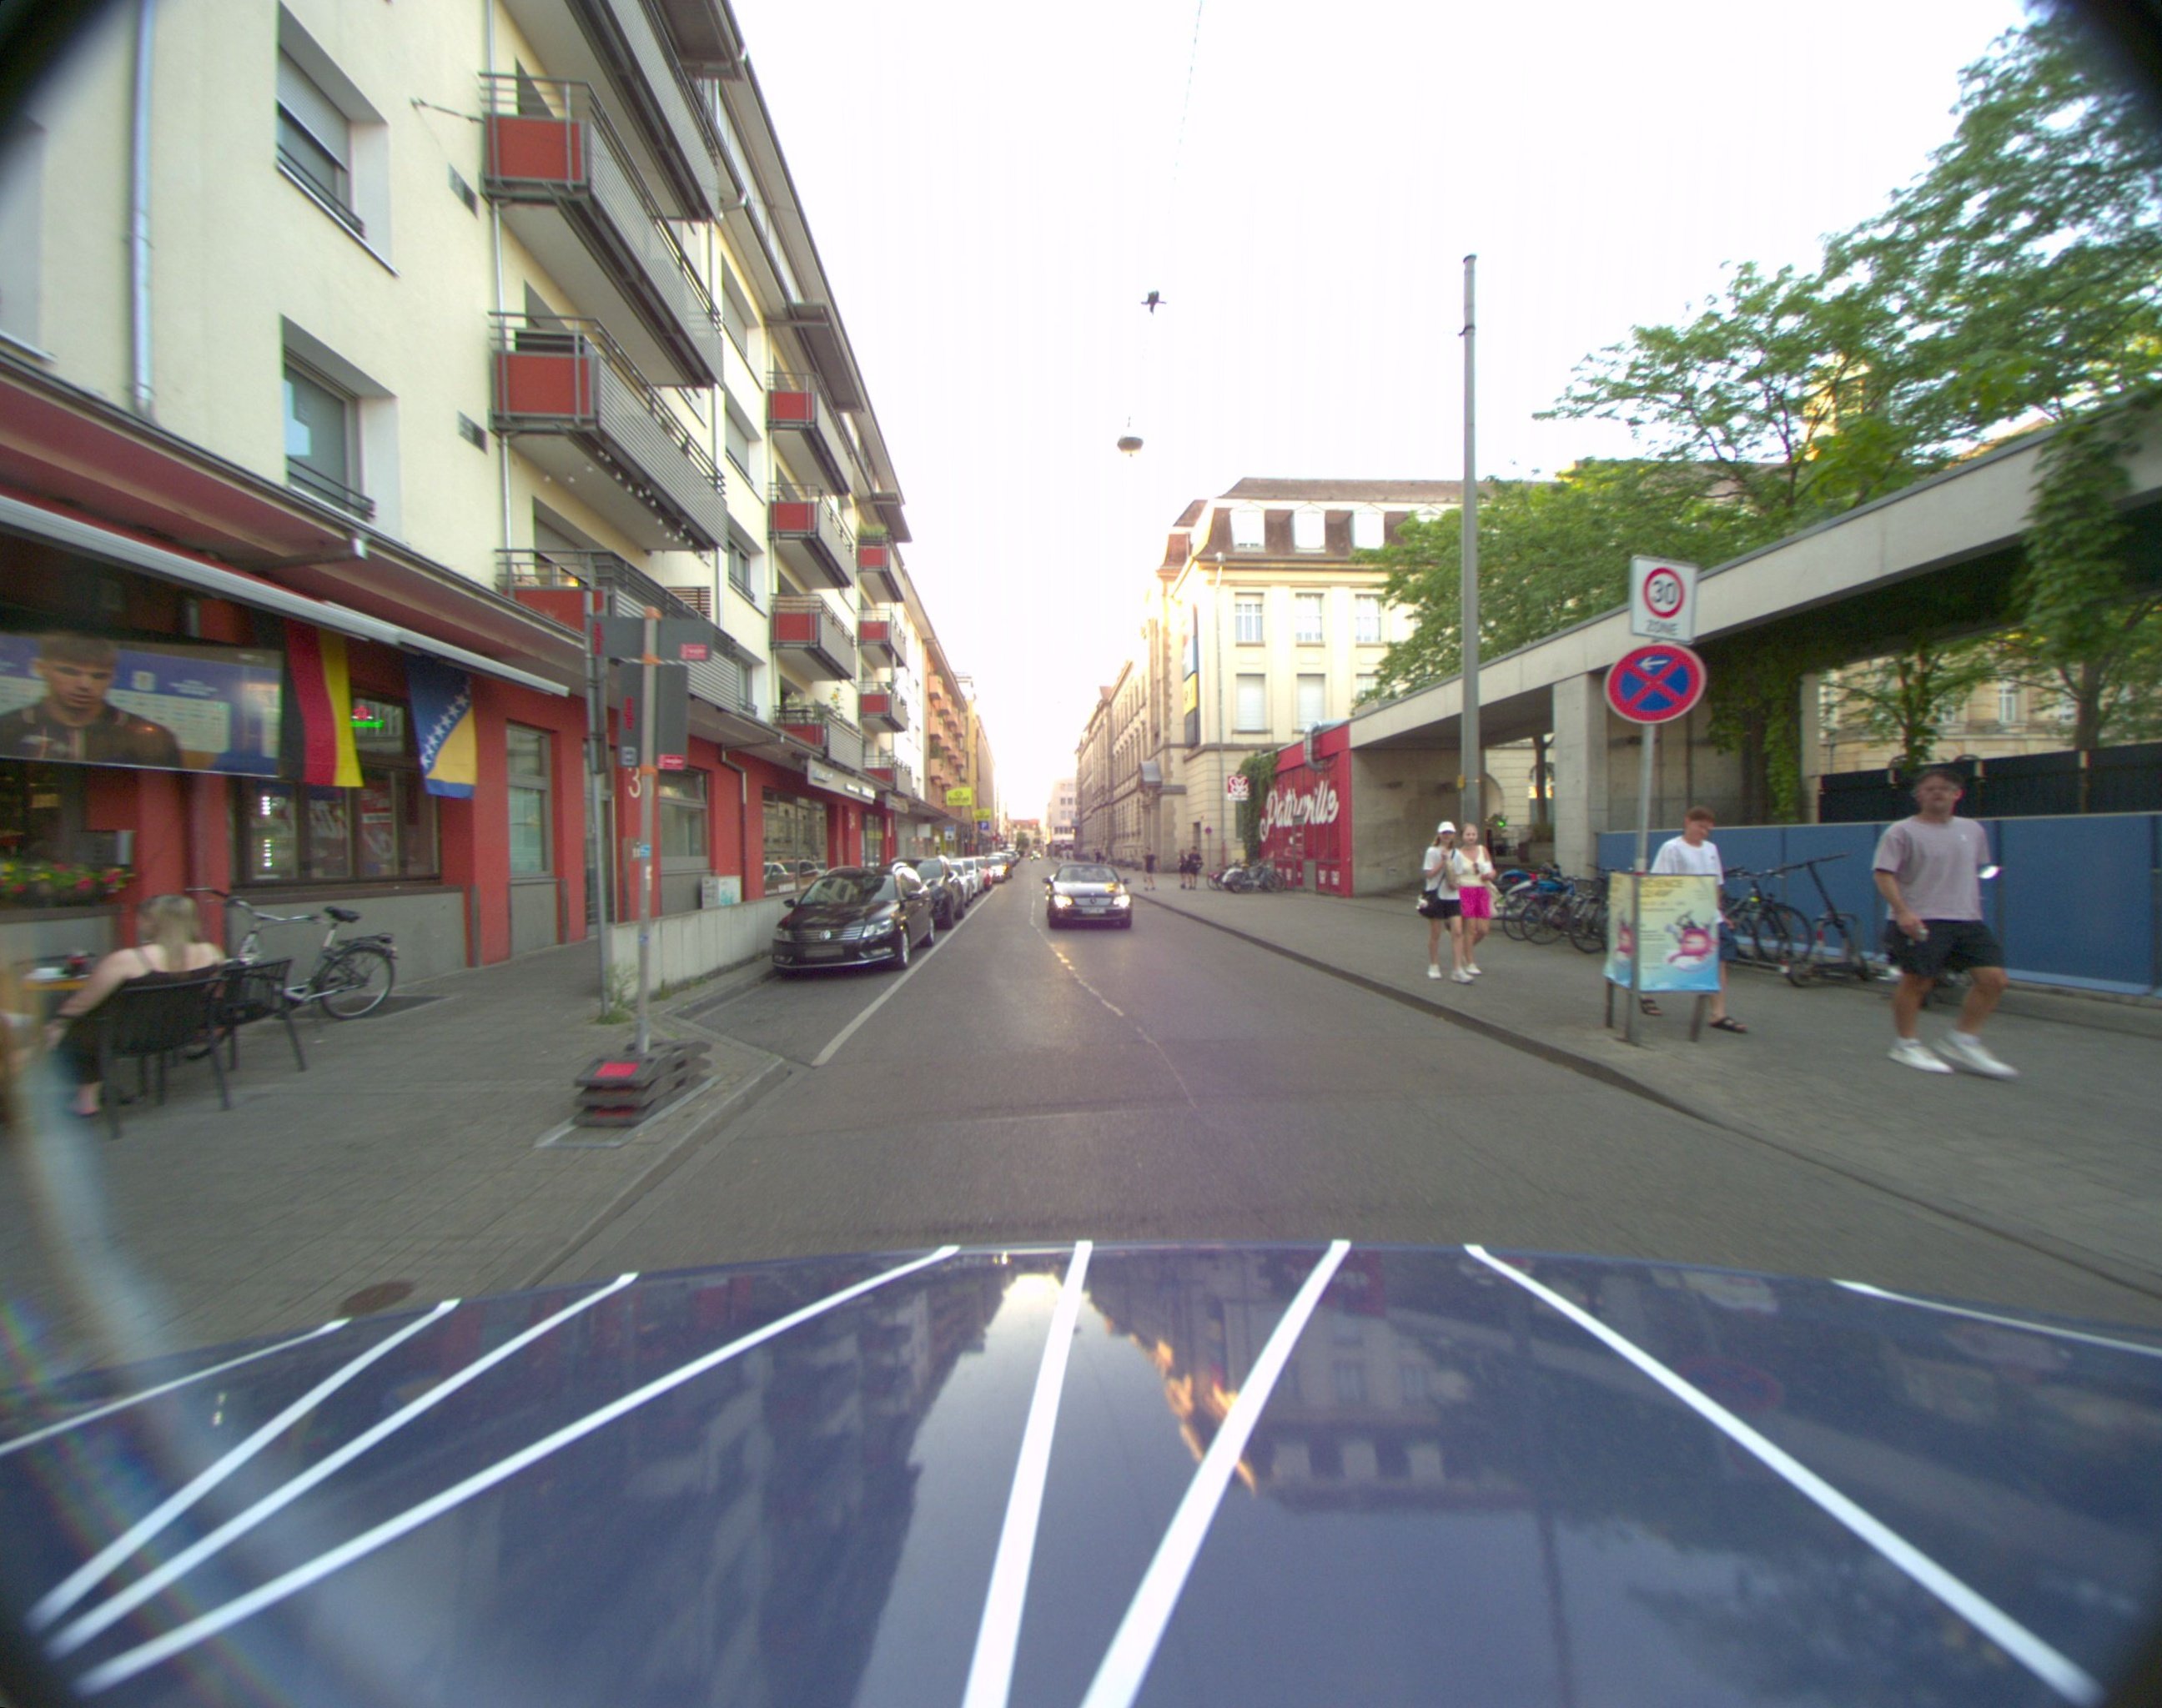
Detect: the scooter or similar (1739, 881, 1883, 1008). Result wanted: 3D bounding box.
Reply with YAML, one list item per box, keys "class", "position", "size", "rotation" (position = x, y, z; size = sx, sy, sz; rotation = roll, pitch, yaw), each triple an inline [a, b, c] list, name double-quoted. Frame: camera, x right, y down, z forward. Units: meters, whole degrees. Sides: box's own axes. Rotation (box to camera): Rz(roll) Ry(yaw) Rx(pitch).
- class: "scooter or similar"
  position: [7.194, 0.854, 7.481]
  size: [1.499, 1.082, 0.410]
  rotation: [-3, 1, -21]

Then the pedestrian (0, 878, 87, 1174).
- class: "pedestrian"
  position: [-6.110, 0.915, 3.950]
  size: [0.854, 1.527, 0.713]
  rotation: [-3, 1, -26]

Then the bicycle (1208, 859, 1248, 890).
- class: "bicycle"
  position: [5.758, 0.809, 29.741]
  size: [1.501, 1.134, 0.312]
  rotation: [-3, 1, -12]

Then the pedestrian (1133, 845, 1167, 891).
- class: "pedestrian"
  position: [2.852, 0.566, 31.549]
  size: [1.009, 1.816, 0.944]
  rotation: [-3, 1, -26]

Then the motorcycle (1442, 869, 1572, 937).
- class: "motorcycle"
  position: [7.087, 0.817, 12.733]
  size: [1.824, 1.063, 0.534]
  rotation: [-2, 1, 25]

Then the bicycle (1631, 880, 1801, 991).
- class: "bicycle"
  position: [6.980, 0.876, 8.376]
  size: [1.497, 1.082, 0.547]
  rotation: [-2, 1, -7]

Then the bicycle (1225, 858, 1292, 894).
- class: "bicycle"
  position: [6.152, 0.774, 26.386]
  size: [2.180, 1.149, 0.445]
  rotation: [-2, 1, 2]

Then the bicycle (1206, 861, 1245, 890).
- class: "bicycle"
  position: [5.720, 0.832, 30.084]
  size: [1.501, 1.070, 0.312]
  rotation: [-3, 1, -12]

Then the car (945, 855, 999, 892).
- class: "car"
  position: [-4.815, 0.821, 34.140]
  size: [1.867, 1.468, 4.393]
  rotation: [-2, 0, -1]

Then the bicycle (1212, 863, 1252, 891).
- class: "bicycle"
  position: [5.839, 0.884, 29.427]
  size: [1.501, 0.973, 0.312]
  rotation: [-3, 1, -12]

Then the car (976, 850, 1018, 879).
- class: "car"
  position: [-5.207, 0.609, 47.534]
  size: [1.998, 1.607, 4.367]
  rotation: [-2, 0, 1]

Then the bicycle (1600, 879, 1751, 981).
- class: "bicycle"
  position: [6.919, 0.866, 8.859]
  size: [1.497, 1.063, 0.442]
  rotation: [-2, 1, -7]

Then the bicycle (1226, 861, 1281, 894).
- class: "bicycle"
  position: [6.067, 0.823, 26.751]
  size: [1.844, 1.077, 0.354]
  rotation: [-2, 1, 2]

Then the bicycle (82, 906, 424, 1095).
- class: "bicycle"
  position: [-6.330, 1.036, 6.021]
  size: [0.550, 1.081, 2.005]
  rotation: [-2, 0, -4]

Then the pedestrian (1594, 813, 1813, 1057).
- class: "pedestrian"
  position: [4.958, 0.602, 6.124]
  size: [0.984, 1.783, 0.890]
  rotation: [-2, 1, -2]

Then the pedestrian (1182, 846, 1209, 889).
- class: "pedestrian"
  position: [4.643, 0.554, 30.857]
  size: [0.832, 1.717, 0.922]
  rotation: [-1, 1, 25]

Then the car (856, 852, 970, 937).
- class: "car"
  position: [-3.792, 0.838, 17.869]
  size: [1.884, 1.690, 4.136]
  rotation: [-2, 0, -3]

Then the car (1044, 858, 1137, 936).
- class: "car"
  position: [0.131, 0.856, 17.153]
  size: [1.809, 1.400, 4.615]
  rotation: [0, 1, -1]

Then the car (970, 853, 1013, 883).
- class: "car"
  position: [-4.878, 0.735, 41.820]
  size: [1.897, 1.468, 4.300]
  rotation: [-2, 0, -1]

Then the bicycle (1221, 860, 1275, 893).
- class: "bicycle"
  position: [5.967, 0.806, 27.198]
  size: [1.844, 1.077, 0.354]
  rotation: [-2, 1, 2]

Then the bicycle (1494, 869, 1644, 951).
- class: "bicycle"
  position: [7.206, 0.816, 11.259]
  size: [1.872, 1.081, 0.550]
  rotation: [-2, 1, -2]

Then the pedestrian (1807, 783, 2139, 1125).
- class: "pedestrian"
  position: [5.420, 0.558, 4.695]
  size: [0.984, 1.873, 0.890]
  rotation: [-2, 1, -2]

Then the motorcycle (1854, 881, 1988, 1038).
- class: "motorcycle"
  position: [7.427, 0.853, 6.694]
  size: [1.832, 1.120, 0.535]
  rotation: [-3, 1, -34]

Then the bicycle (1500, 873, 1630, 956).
- class: "bicycle"
  position: [6.807, 0.841, 10.719]
  size: [1.496, 1.082, 0.436]
  rotation: [-2, 1, 3]

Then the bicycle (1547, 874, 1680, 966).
- class: "bicycle"
  position: [6.920, 0.841, 9.883]
  size: [1.497, 1.082, 0.410]
  rotation: [-2, 1, -7]

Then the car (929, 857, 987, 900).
- class: "car"
  position: [-4.730, 0.895, 29.709]
  size: [1.768, 1.468, 3.946]
  rotation: [-2, 0, -3]

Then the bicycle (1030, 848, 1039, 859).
- class: "bicycle"
  position: [-6.671, -0.133, 109.731]
  size: [1.038, 1.513, 2.822]
  rotation: [-1, 1, 1]

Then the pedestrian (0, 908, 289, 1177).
- class: "pedestrian"
  position: [-5.298, 0.993, 4.325]
  size: [0.854, 1.271, 0.712]
  rotation: [-1, 3, -26]

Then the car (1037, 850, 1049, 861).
- class: "car"
  position: [-7.518, 0.225, 151.167]
  size: [1.998, 2.002, 3.999]
  rotation: [-1, 1, 1]

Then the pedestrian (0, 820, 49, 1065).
- class: "pedestrian"
  position: [-7.929, 0.627, 5.197]
  size: [0.718, 1.711, 0.668]
  rotation: [-2, 1, -5]

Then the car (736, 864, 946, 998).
- class: "car"
  position: [-3.451, 1.002, 11.959]
  size: [1.879, 1.543, 4.629]
  rotation: [-2, 0, -1]

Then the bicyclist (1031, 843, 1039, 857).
- class: "bicyclist"
  position: [-6.660, -0.597, 109.660]
  size: [1.045, 2.002, 1.182]
  rotation: [-1, 1, -1]

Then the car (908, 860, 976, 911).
- class: "car"
  position: [-4.362, 0.942, 24.337]
  size: [1.753, 1.395, 3.965]
  rotation: [-2, 0, -6]

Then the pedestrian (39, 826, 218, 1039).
- class: "pedestrian"
  position: [-9.431, 0.742, 7.557]
  size: [0.669, 2.002, 0.815]
  rotation: [-1, 1, 7]

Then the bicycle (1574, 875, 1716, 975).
- class: "bicycle"
  position: [6.860, 0.848, 9.253]
  size: [1.497, 1.105, 0.410]
  rotation: [-2, 1, -7]

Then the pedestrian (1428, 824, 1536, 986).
- class: "pedestrian"
  position: [4.665, 0.568, 8.882]
  size: [0.812, 1.783, 0.736]
  rotation: [-2, 1, -2]

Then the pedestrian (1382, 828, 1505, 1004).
- class: "pedestrian"
  position: [3.911, 0.637, 8.271]
  size: [0.851, 1.783, 0.869]
  rotation: [-2, 1, -1]

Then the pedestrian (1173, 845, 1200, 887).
- class: "pedestrian"
  position: [4.432, 0.484, 31.916]
  size: [0.921, 1.717, 0.702]
  rotation: [-2, 1, -8]

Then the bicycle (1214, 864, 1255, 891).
- class: "bicycle"
  position: [5.880, 0.882, 29.118]
  size: [1.501, 0.950, 0.312]
  rotation: [-3, 1, -12]
